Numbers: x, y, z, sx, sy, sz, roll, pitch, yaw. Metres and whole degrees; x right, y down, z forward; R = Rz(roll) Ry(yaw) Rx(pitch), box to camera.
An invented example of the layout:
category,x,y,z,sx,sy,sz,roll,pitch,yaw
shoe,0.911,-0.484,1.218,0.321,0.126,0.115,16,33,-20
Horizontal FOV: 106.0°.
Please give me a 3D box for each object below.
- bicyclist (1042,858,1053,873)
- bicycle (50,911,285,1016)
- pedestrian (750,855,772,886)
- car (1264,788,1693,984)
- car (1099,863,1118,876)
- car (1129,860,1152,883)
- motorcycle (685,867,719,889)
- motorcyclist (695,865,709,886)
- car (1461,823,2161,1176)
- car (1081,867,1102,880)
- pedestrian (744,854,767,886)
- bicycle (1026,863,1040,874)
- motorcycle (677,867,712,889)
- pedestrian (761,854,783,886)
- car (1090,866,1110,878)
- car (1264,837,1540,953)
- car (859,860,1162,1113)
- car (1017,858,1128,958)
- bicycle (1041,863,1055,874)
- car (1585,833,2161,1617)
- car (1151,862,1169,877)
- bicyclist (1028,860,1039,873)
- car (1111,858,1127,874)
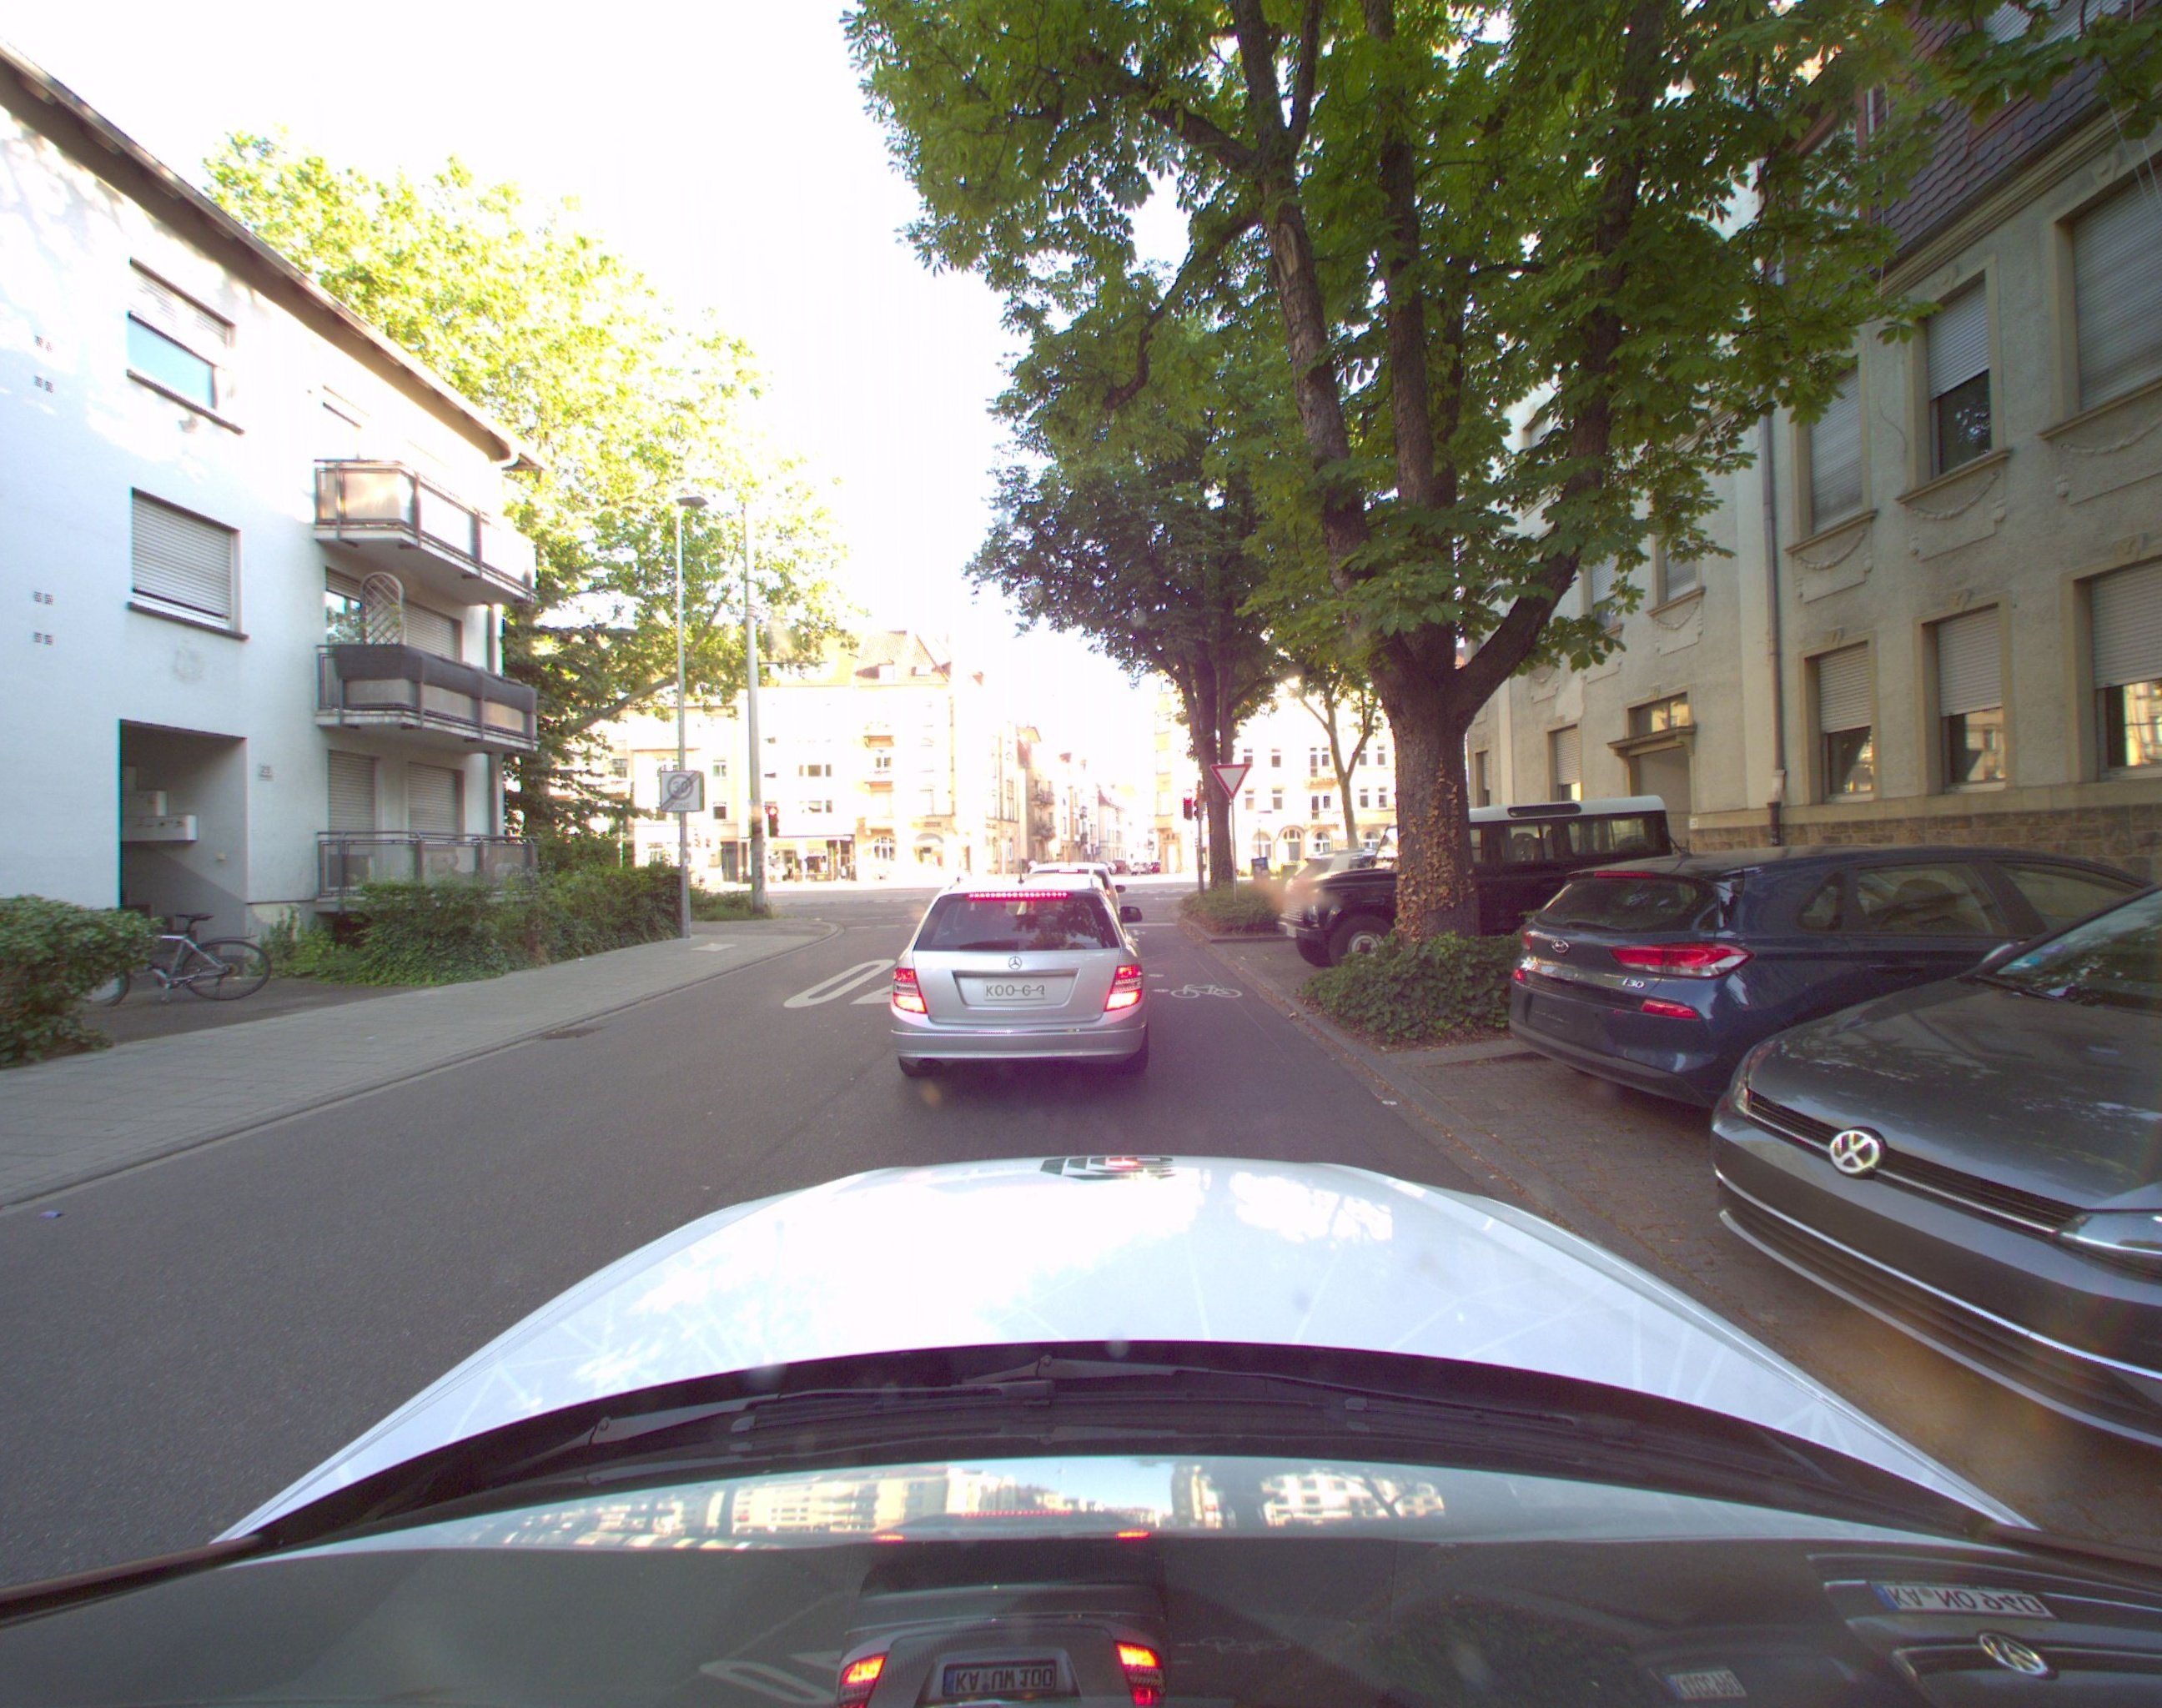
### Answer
category,x,y,z,sx,sy,sz,roll,pitch,yaw
bicyclist,-3.013,1.018,73.704,0.765,1.290,0.755,-1,0,13
bicycle,-9.997,1.165,9.006,1.630,1.008,0.511,2,-2,-39
pedestrian,-25.933,1.302,66.060,1.343,2.464,1.059,-1,0,-3
car,4.738,0.363,10.129,4.453,2.036,1.700,-3,-1,-2
car,3.699,2.052,108.840,1.824,1.663,4.012,-1,0,10
car,6.299,1.802,85.901,2.018,2.279,4.012,-1,0,10
motorcycle,-26.482,1.658,56.914,2.028,1.452,0.568,-2,0,-3
motorcyclist,-26.469,1.480,56.910,0.679,1.452,0.568,-2,0,-2
car,4.394,0.631,4.555,3.714,1.452,1.707,-3,-1,-2
car,1.318,2.288,97.163,1.824,1.402,4.012,-1,0,10
pedestrian,-25.594,1.268,64.099,1.343,2.464,1.059,-1,0,-3
bicycle,-4.330,1.329,73.645,0.765,0.940,1.947,-1,0,13
motorcycle,-26.427,1.620,55.721,2.028,1.452,0.568,-2,0,-3
pedestrian,-24.612,1.281,64.907,1.343,2.464,1.059,-1,0,-3
car,2.388,2.240,102.633,1.824,1.402,4.012,-1,0,10
car,5.027,0.613,13.089,3.714,1.570,1.707,-3,-1,-2
car,-0.405,0.795,7.082,1.771,1.452,4.547,-1,0,0
car,-0.111,0.811,14.170,1.614,1.447,4.344,-1,0,0
bicycle,-3.008,1.311,73.702,0.765,0.934,1.947,-1,0,13
car,4.030,0.647,2.383,4.042,1.452,1.722,-3,-1,-2
car,9.868,1.891,101.858,1.824,1.744,4.012,-1,0,10
bicyclist,-4.313,1.107,73.724,0.765,1.156,0.755,-1,0,13
car,5.472,1.702,117.399,1.776,2.204,4.012,-1,0,10
